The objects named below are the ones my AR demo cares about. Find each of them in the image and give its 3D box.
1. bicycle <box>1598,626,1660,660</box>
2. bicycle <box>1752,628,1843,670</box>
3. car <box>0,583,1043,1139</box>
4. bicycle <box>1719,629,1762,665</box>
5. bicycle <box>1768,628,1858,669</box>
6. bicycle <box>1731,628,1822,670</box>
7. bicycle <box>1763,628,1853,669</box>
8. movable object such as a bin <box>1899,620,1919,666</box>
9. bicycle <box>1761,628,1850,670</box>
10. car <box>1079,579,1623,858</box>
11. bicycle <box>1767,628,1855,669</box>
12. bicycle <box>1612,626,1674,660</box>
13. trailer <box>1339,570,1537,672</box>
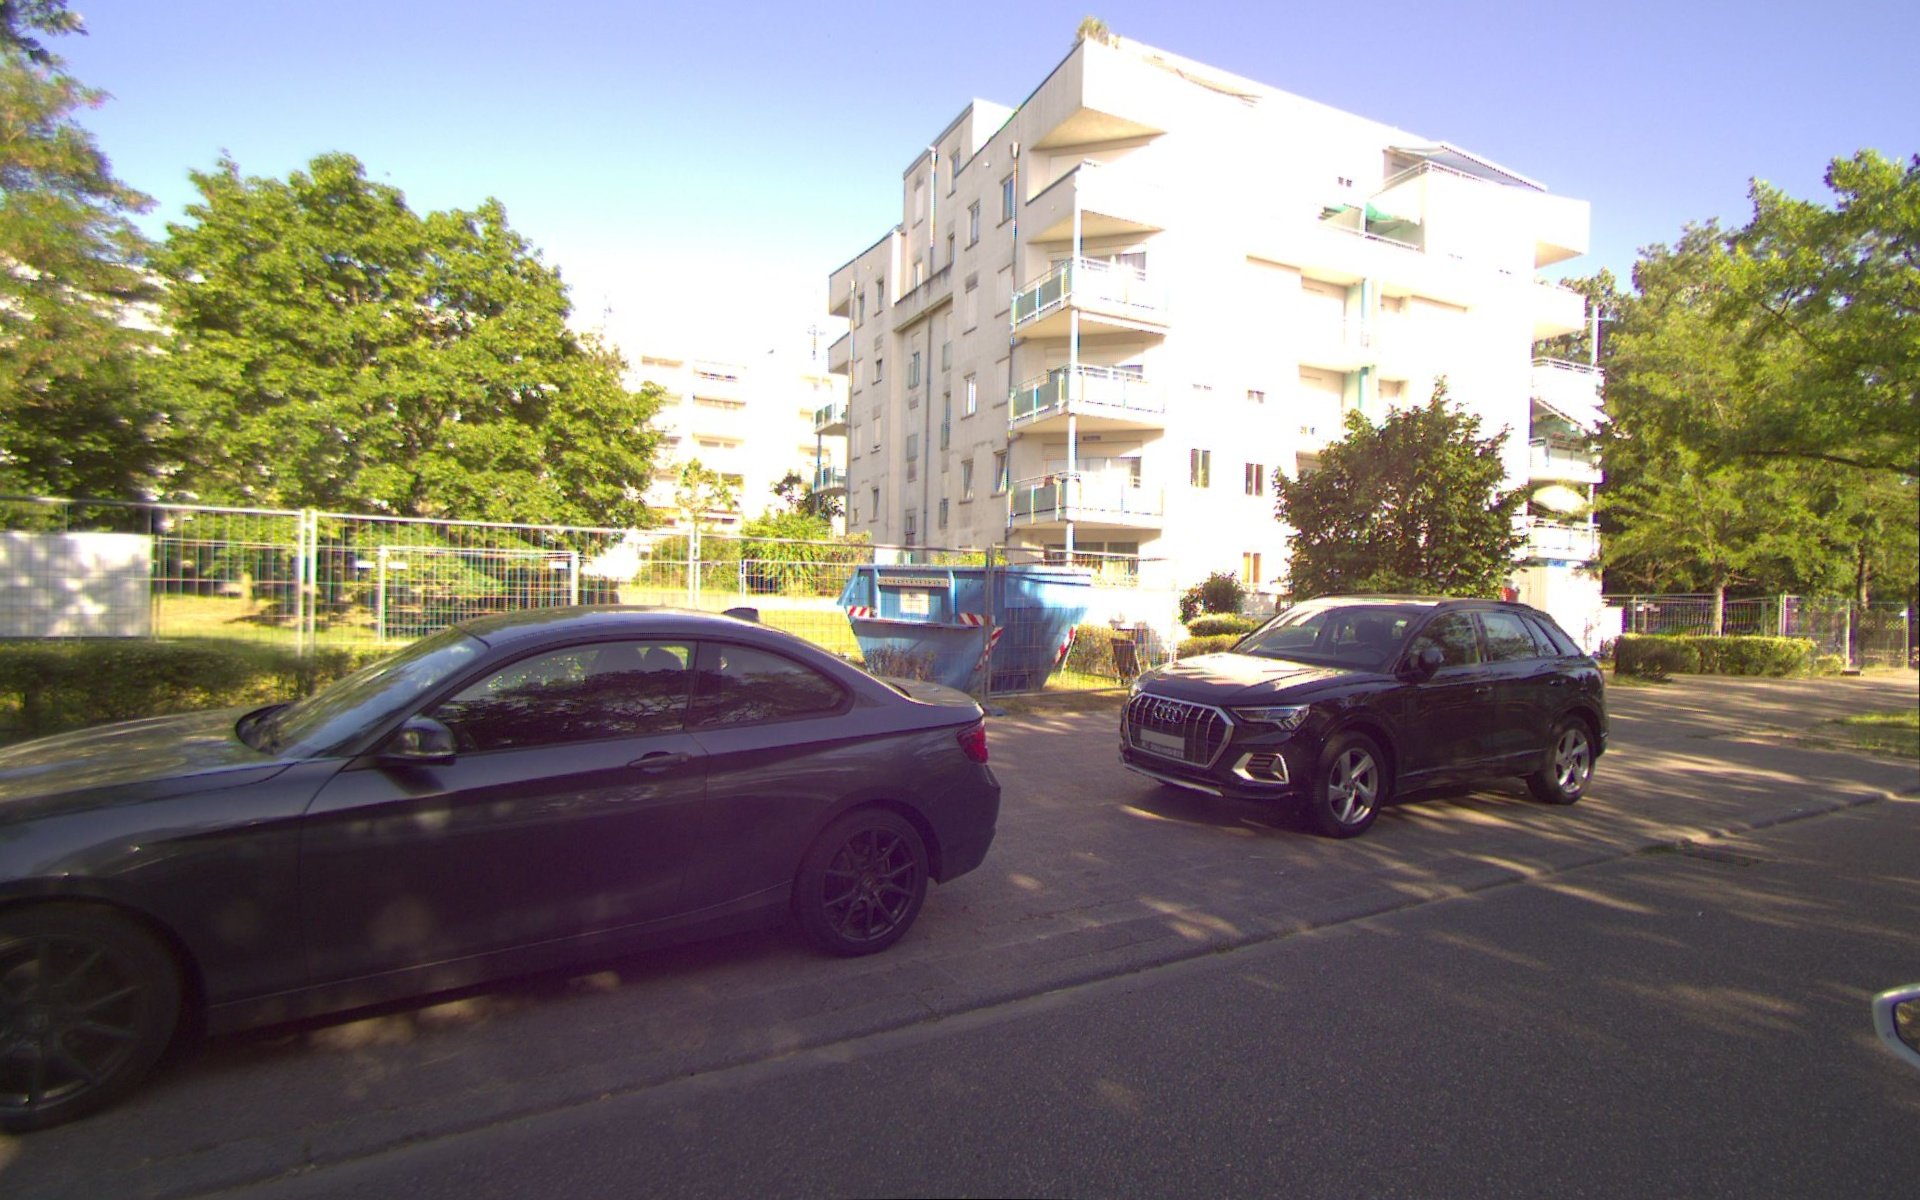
[{"bbox_3d":[21.612,1.371,32.478,0.395,1.040,1.690,2,-1,-24],"label":"bicycle"},{"bbox_3d":[22.660,1.305,27.213,0.398,1.040,1.838,2,-1,-43],"label":"bicycle"},{"bbox_3d":[-1.785,0.724,4.278,4.095,1.452,1.705,1,2,-35],"label":"car"},{"bbox_3d":[23.855,1.439,30.702,1.680,1.040,0.397,2,-1,-29],"label":"bicycle"},{"bbox_3d":[24.080,1.359,28.374,0.398,1.040,1.896,2,-1,-43],"label":"bicycle"},{"bbox_3d":[21.797,1.300,26.846,0.398,1.040,1.851,2,-1,-43],"label":"bicycle"},{"bbox_3d":[23.416,1.335,27.770,0.398,1.040,1.841,2,-1,-43],"label":"bicycle"},{"bbox_3d":[31.102,1.376,31.938,1.300,1.454,1.273,1,0,-2],"label":"movable object such as a bin"},{"bbox_3d":[23.073,1.320,27.433,0.398,1.040,1.821,2,-1,-43],"label":"bicycle"},{"bbox_3d":[3.152,0.738,7.877,4.172,1.643,1.766,1,2,-31],"label":"car"},{"bbox_3d":[23.736,1.344,28.051,0.398,1.040,1.820,2,-1,-43],"label":"bicycle"},{"bbox_3d":[22.236,1.388,32.731,0.395,1.040,1.690,2,-1,-24],"label":"bicycle"},{"bbox_3d":[11.022,0.468,23.127,4.290,2.149,1.856,1,2,-27],"label":"trailer"}]
